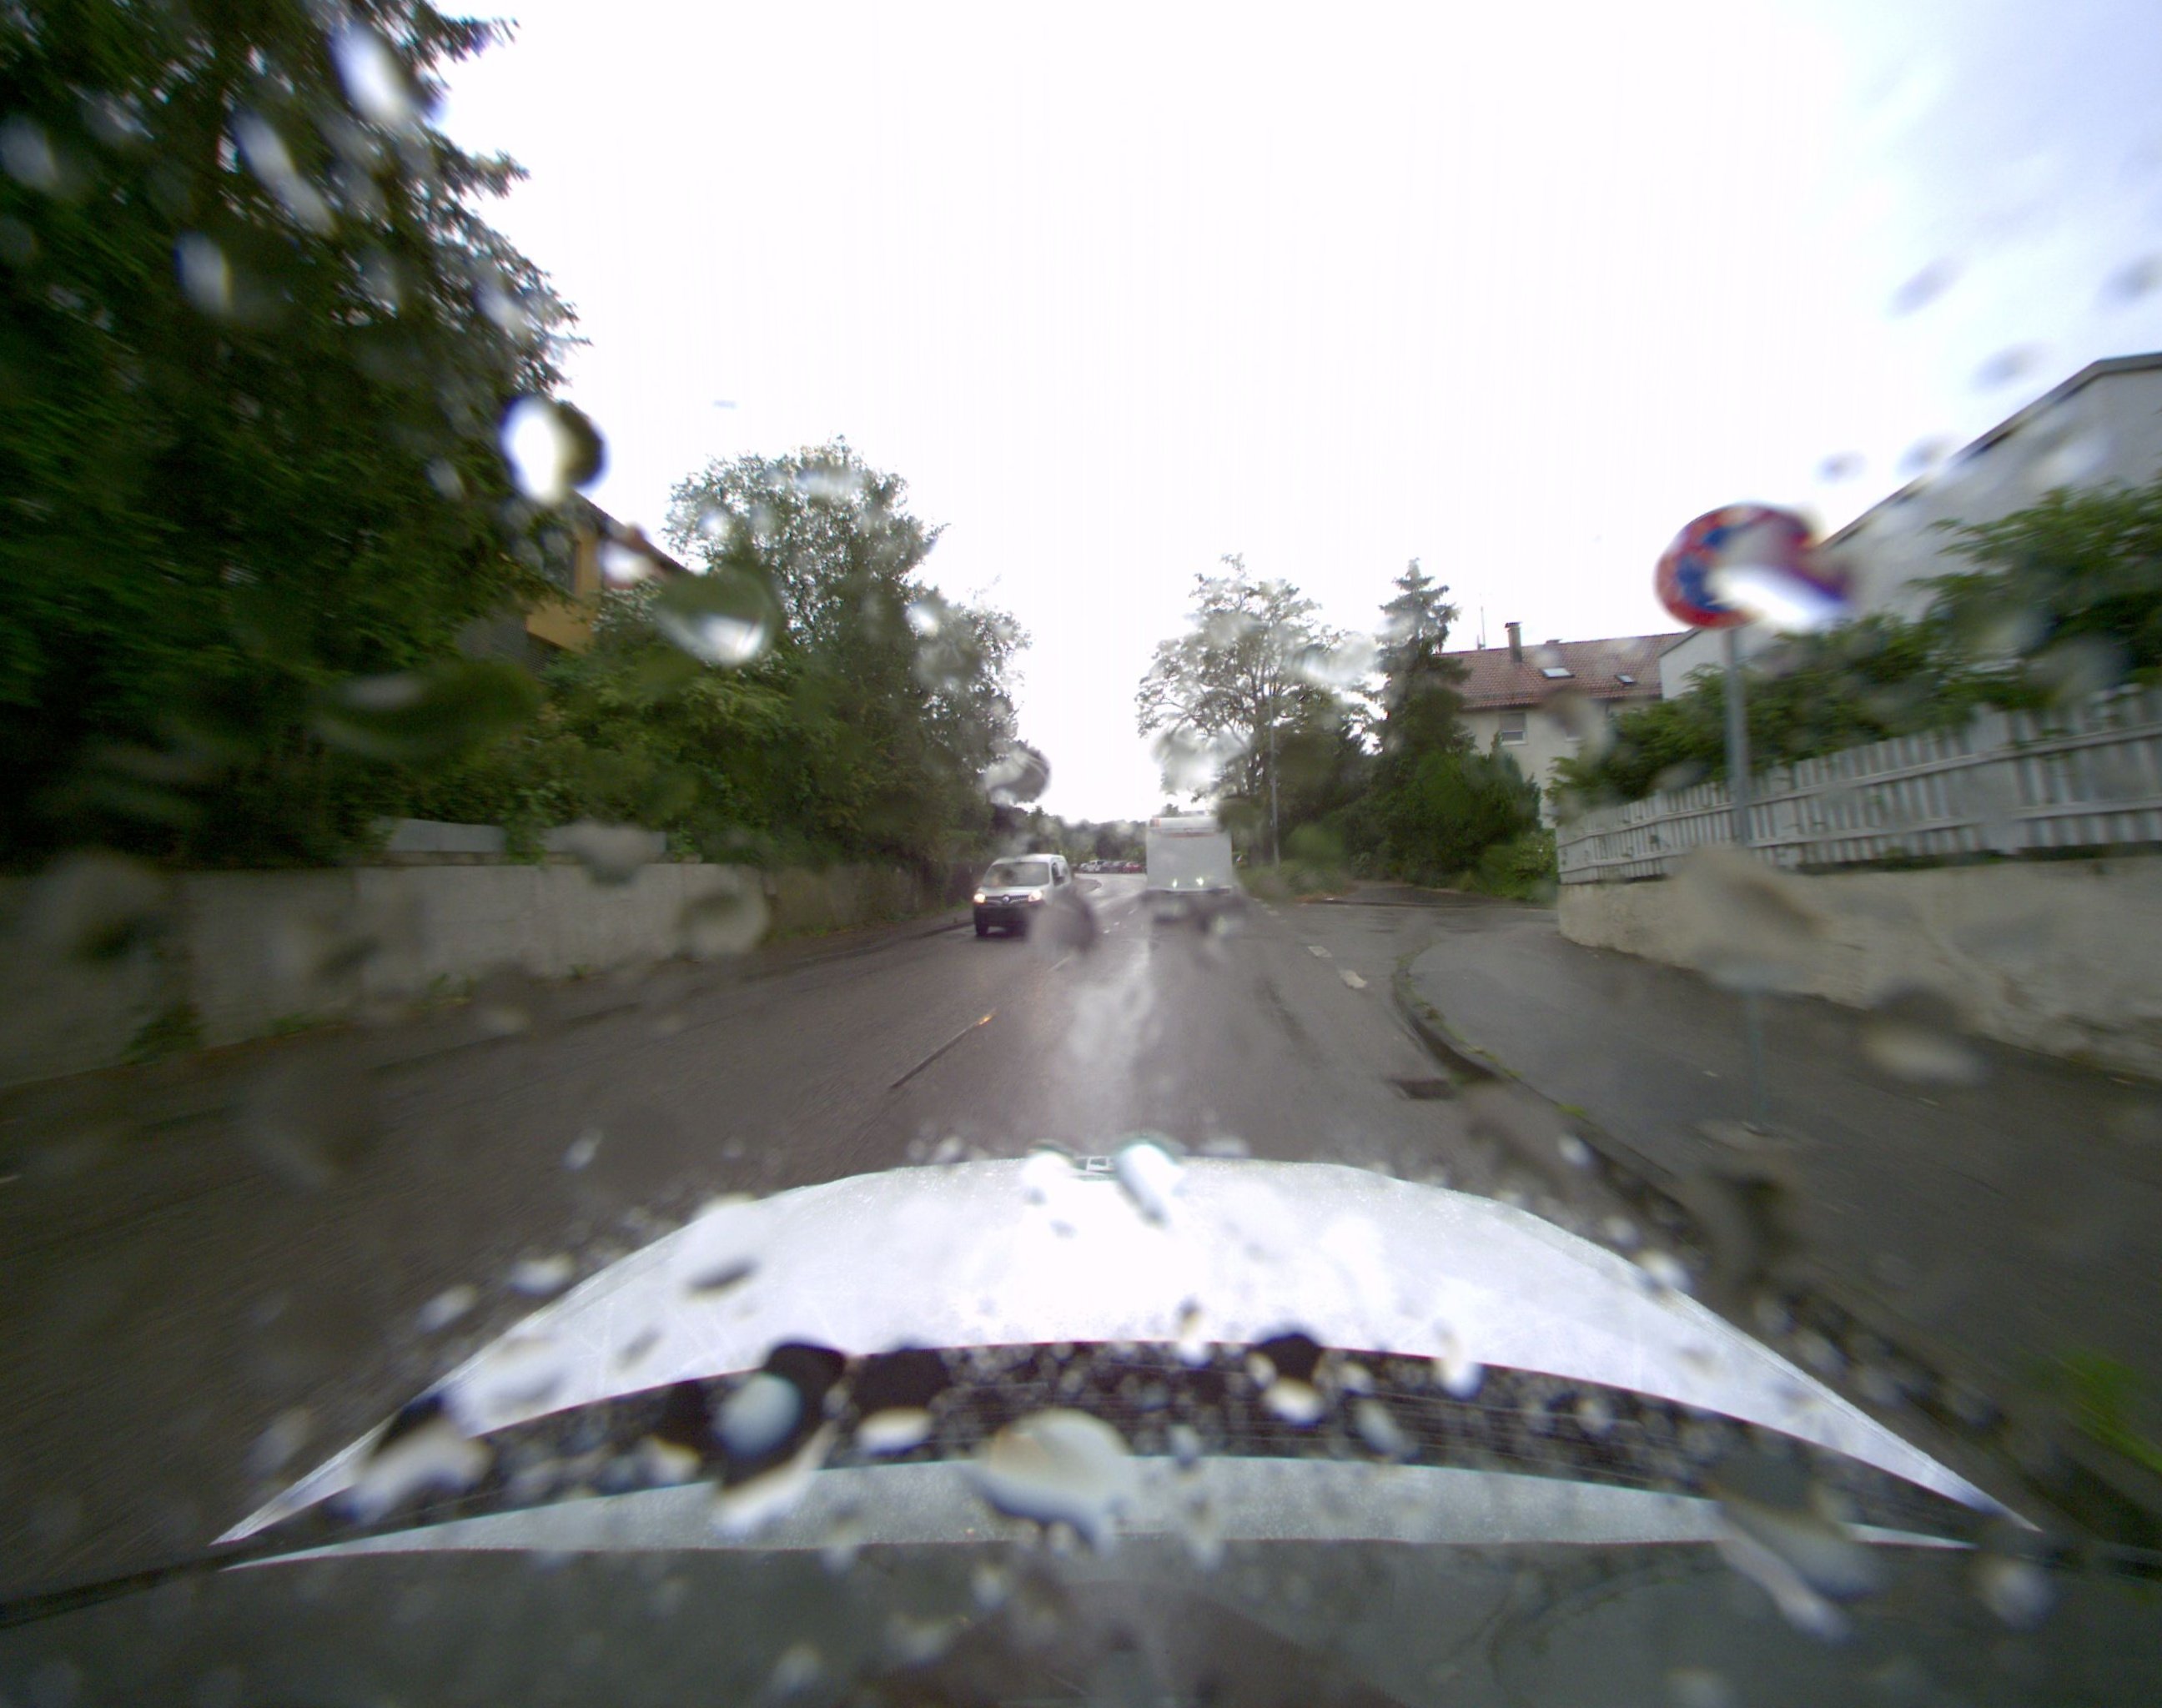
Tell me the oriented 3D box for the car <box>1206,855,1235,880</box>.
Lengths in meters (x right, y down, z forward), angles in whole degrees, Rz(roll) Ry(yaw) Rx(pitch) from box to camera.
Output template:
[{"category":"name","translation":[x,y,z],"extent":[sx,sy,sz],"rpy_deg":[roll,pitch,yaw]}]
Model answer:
[{"category":"car","translation":[10.240,1.035,59.980],"extent":[1.982,1.640,4.008],"rpy_deg":[1,-3,9]}]

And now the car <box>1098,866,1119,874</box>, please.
[{"category":"car","translation":[3.829,2.212,113.881],"extent":[1.650,1.101,3.976],"rpy_deg":[-1,-1,-17]}]

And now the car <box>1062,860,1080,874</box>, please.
[{"category":"car","translation":[-1.621,2.177,136.108],"extent":[1.744,2.044,4.486],"rpy_deg":[2,-3,-17]}]

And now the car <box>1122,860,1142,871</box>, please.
[{"category":"car","translation":[6.426,1.473,103.328],"extent":[1.541,1.327,3.848],"rpy_deg":[2,-3,-11]}]

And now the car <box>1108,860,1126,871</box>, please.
[{"category":"car","translation":[4.788,1.550,108.034],"extent":[1.540,1.327,3.986],"rpy_deg":[2,-3,-10]}]

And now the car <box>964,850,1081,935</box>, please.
[{"category":"car","translation":[-1.237,0.834,19.228],"extent":[1.829,1.755,4.430],"rpy_deg":[-1,-1,8]}]

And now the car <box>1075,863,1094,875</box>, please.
[{"category":"car","translation":[0.504,2.266,124.774],"extent":[1.650,1.721,3.976],"rpy_deg":[2,-3,-17]}]

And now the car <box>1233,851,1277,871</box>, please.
[{"category":"car","translation":[15.675,0.614,73.399],"extent":[3.607,1.664,2.002],"rpy_deg":[1,-3,4]}]

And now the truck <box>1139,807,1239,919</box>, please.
[{"category":"truck","translation":[3.222,0.390,23.892],"extent":[2.501,2.818,6.214],"rpy_deg":[1,-3,9]}]

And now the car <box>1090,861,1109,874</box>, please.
[{"category":"car","translation":[2.698,2.015,119.042],"extent":[1.650,1.721,3.976],"rpy_deg":[2,-3,-17]}]
